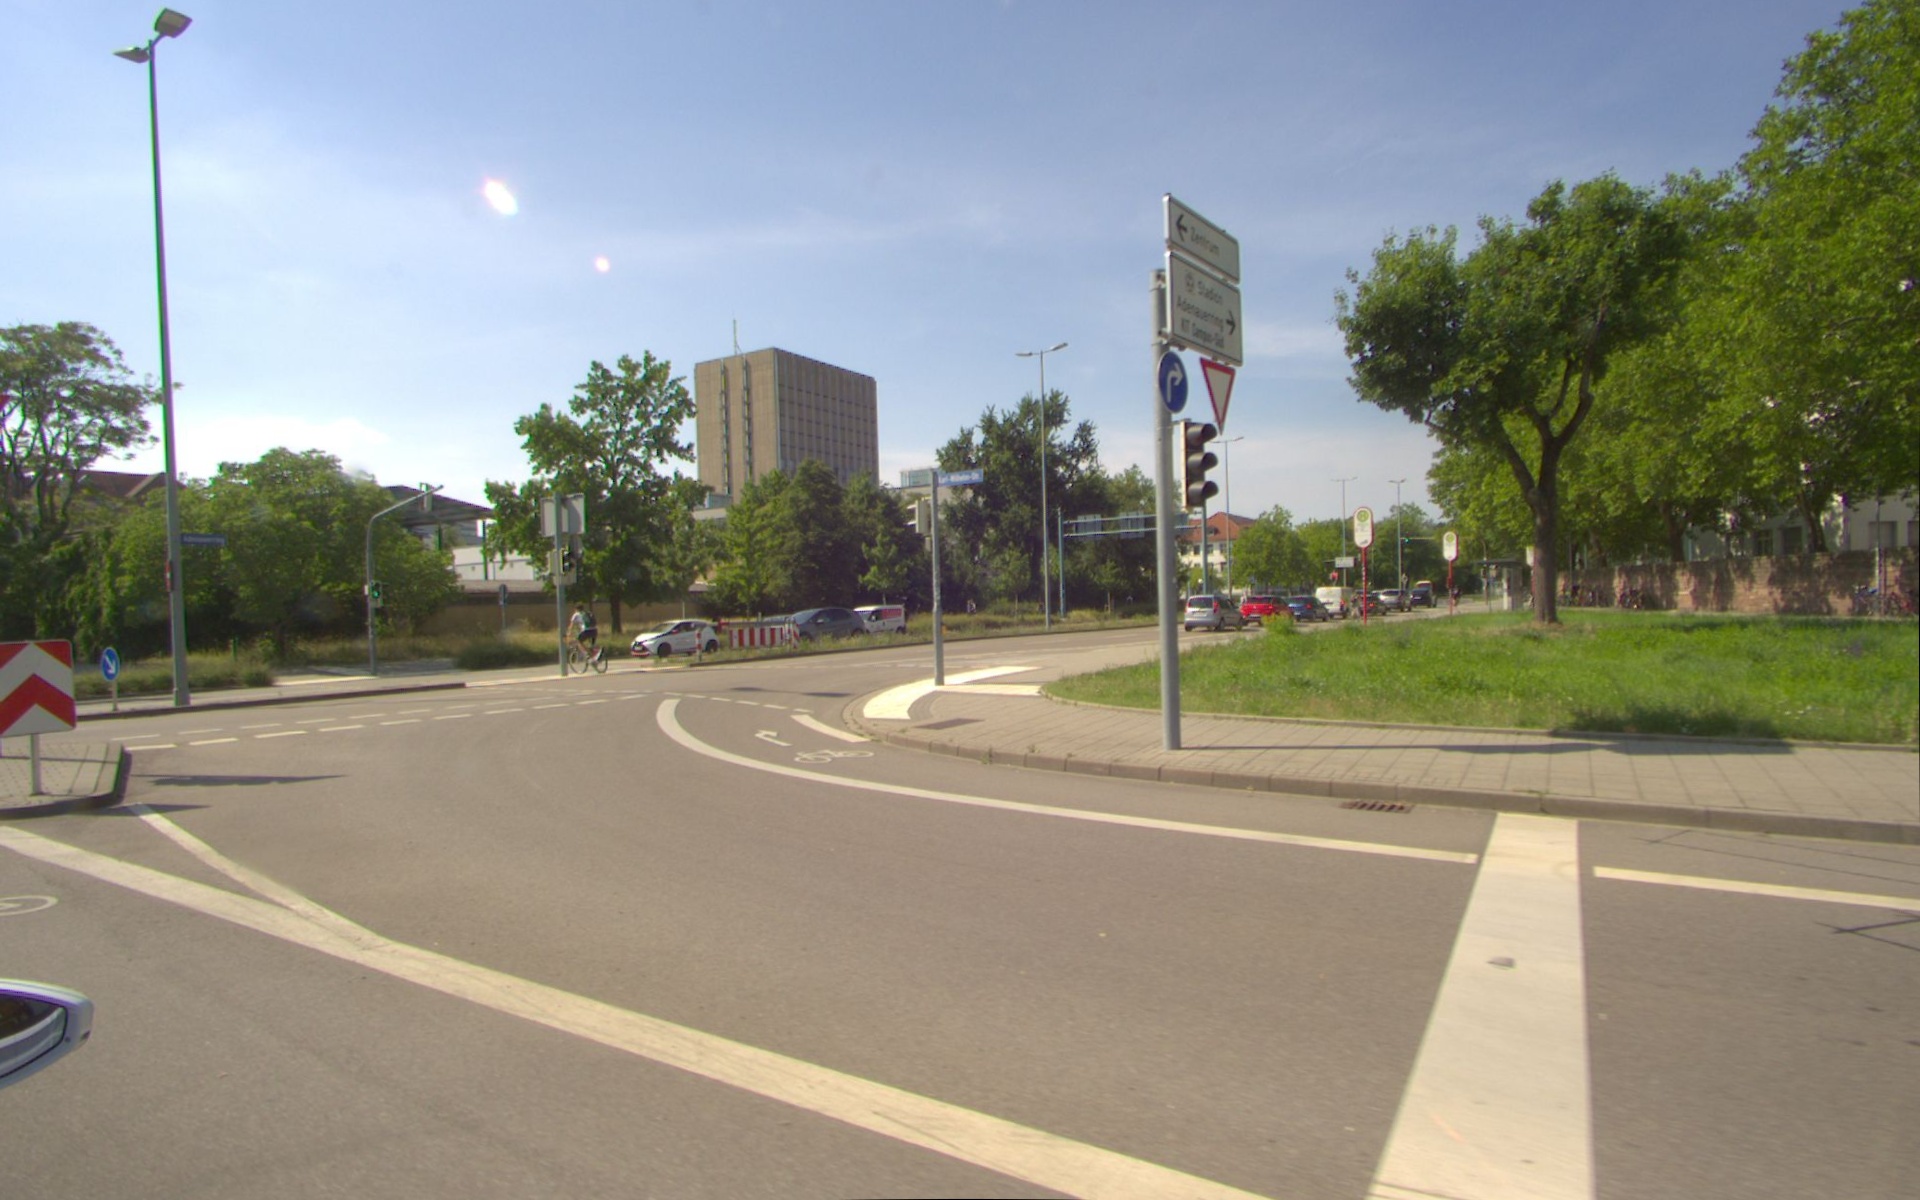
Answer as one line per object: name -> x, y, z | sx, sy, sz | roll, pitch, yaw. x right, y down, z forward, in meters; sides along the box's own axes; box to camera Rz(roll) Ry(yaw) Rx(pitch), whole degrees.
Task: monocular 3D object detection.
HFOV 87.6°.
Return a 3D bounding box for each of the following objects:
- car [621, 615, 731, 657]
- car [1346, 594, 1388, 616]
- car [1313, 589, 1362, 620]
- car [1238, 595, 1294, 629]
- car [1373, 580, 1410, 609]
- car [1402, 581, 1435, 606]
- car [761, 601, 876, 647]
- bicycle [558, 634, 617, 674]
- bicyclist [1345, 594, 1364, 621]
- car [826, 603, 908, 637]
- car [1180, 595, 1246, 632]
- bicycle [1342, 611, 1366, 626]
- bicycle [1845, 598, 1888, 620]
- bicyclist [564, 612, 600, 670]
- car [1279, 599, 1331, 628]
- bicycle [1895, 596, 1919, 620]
car -> -11.505, 1.429, 40.728 | 1.972, 1.483, 3.978 | -3, -1, 32
car -> 27.585, 0.317, 67.834 | 1.729, 1.357, 3.973 | -1, 1, 36
car -> 23.393, 0.280, 61.916 | 1.729, 1.781, 4.402 | -1, 1, 36
car -> 15.434, 0.585, 50.430 | 1.728, 1.528, 3.977 | -1, 1, 32
car -> 32.568, -0.446, 75.528 | 1.972, 2.040, 3.977 | -1, 1, 32
car -> 38.863, -0.581, 84.847 | 1.973, 2.040, 3.975 | -1, 1, 34
car -> -5.042, 0.840, 36.140 | 1.619, 1.424, 4.080 | -3, -1, 37
bicycle -> -9.668, 1.373, 25.923 | 0.667, 0.928, 2.149 | -2, 1, -42
bicyclist -> 21.785, 0.409, 55.255 | 0.558, 1.494, 1.158 | 0, 1, 44
car -> -4.648, 0.976, 50.618 | 1.883, 1.590, 4.300 | -1, 0, 32
car -> 11.402, 0.585, 45.008 | 1.728, 1.528, 3.977 | -1, 1, 32
bicycle -> 21.740, 1.006, 55.229 | 0.554, 0.803, 1.878 | 1, 2, 44
bicycle -> 30.632, 0.293, 33.845 | 0.334, 0.738, 1.364 | -1, 1, 5
bicyclist -> -9.917, 1.083, 26.286 | 0.491, 1.489, 1.133 | 0, -2, -42
car -> 19.524, 0.728, 56.547 | 1.729, 1.493, 3.973 | -1, 1, 36
bicycle -> 30.779, 0.260, 32.148 | 0.334, 0.738, 1.364 | -1, 1, 5
